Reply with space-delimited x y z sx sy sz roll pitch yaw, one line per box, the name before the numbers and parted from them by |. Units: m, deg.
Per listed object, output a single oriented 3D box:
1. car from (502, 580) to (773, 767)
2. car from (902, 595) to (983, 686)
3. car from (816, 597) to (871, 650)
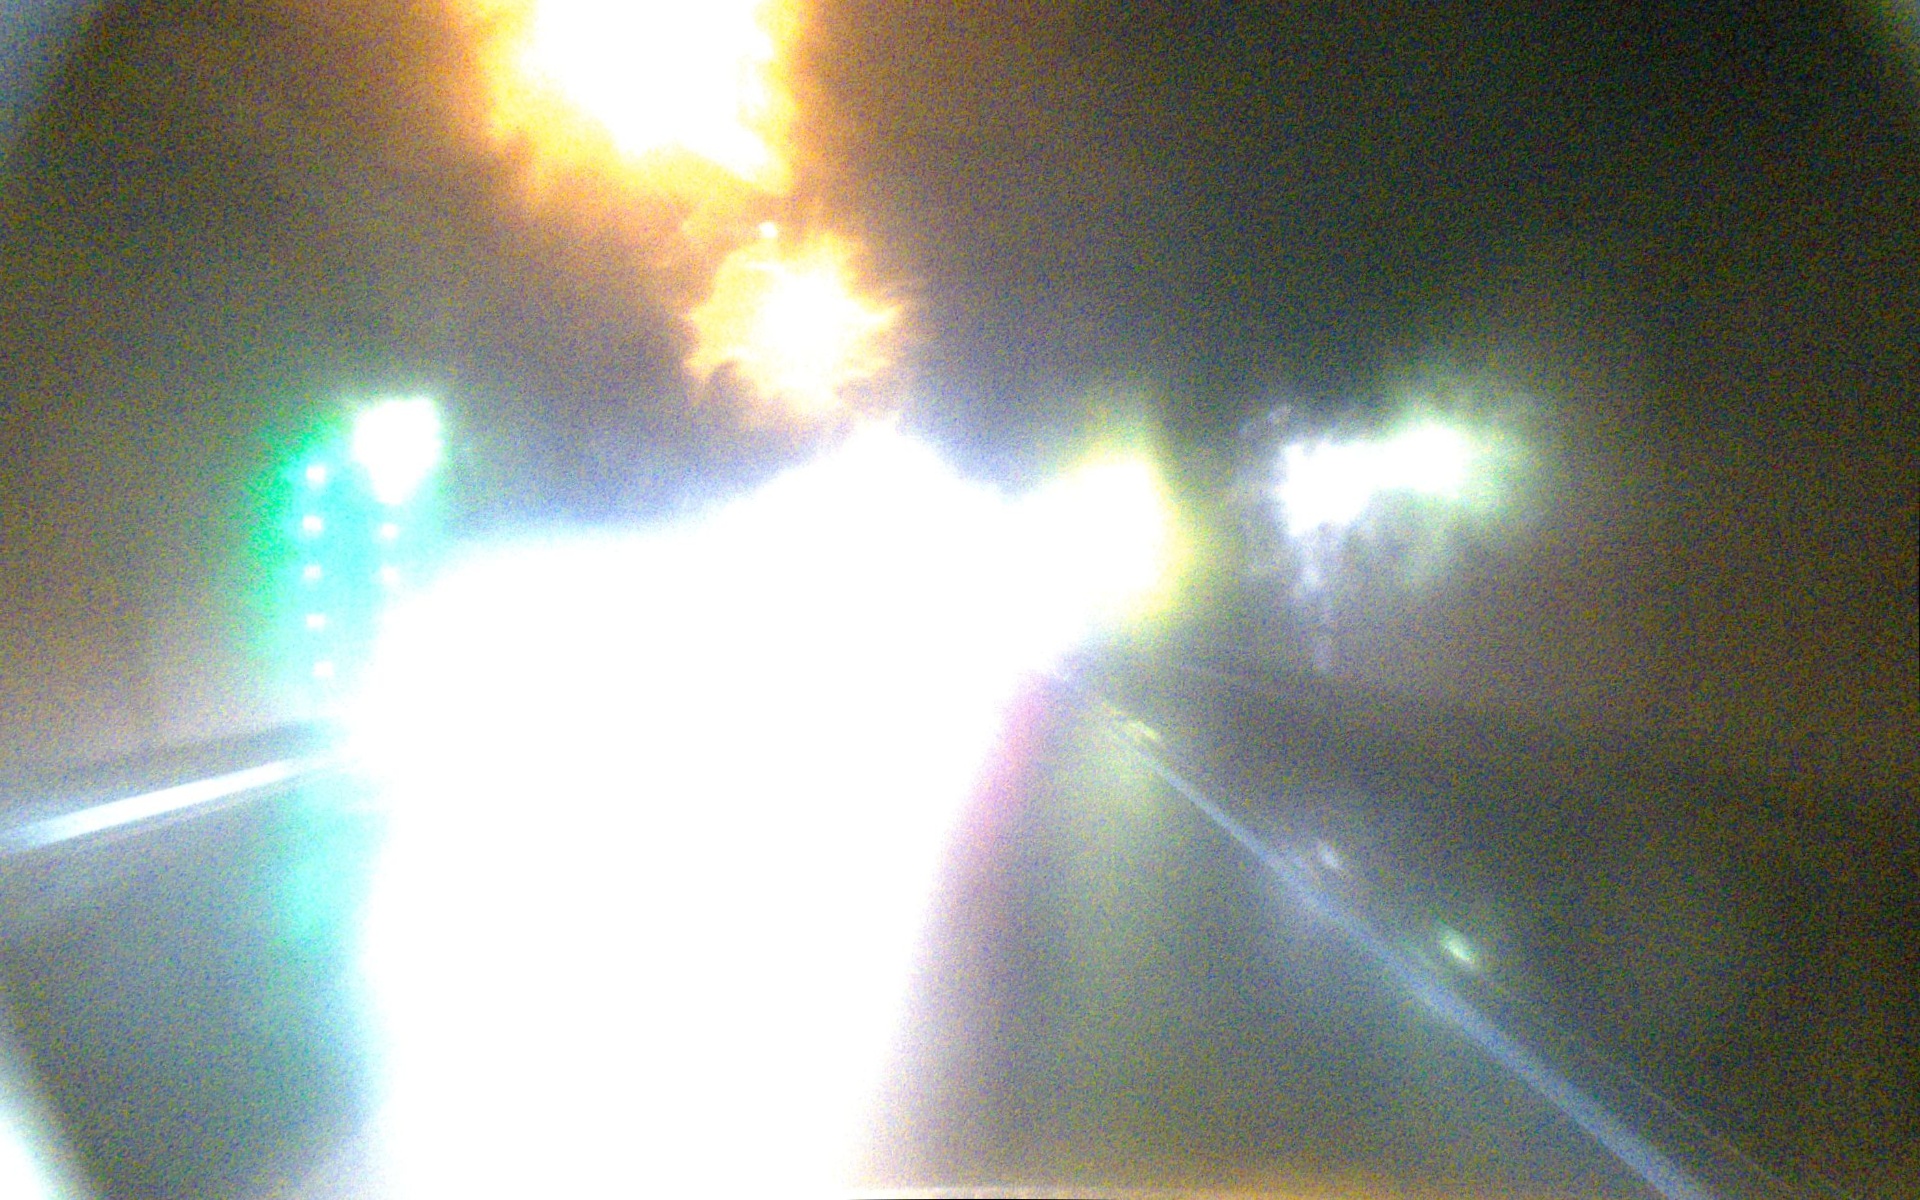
car | -2.885 0.589 15.756 1.713 1.506 4.475 1 0 0
car | -0.352 0.803 35.224 1.602 1.788 4.145 1 0 0
car | -3.751 0.719 53.567 1.489 1.576 4.054 1 1 0
